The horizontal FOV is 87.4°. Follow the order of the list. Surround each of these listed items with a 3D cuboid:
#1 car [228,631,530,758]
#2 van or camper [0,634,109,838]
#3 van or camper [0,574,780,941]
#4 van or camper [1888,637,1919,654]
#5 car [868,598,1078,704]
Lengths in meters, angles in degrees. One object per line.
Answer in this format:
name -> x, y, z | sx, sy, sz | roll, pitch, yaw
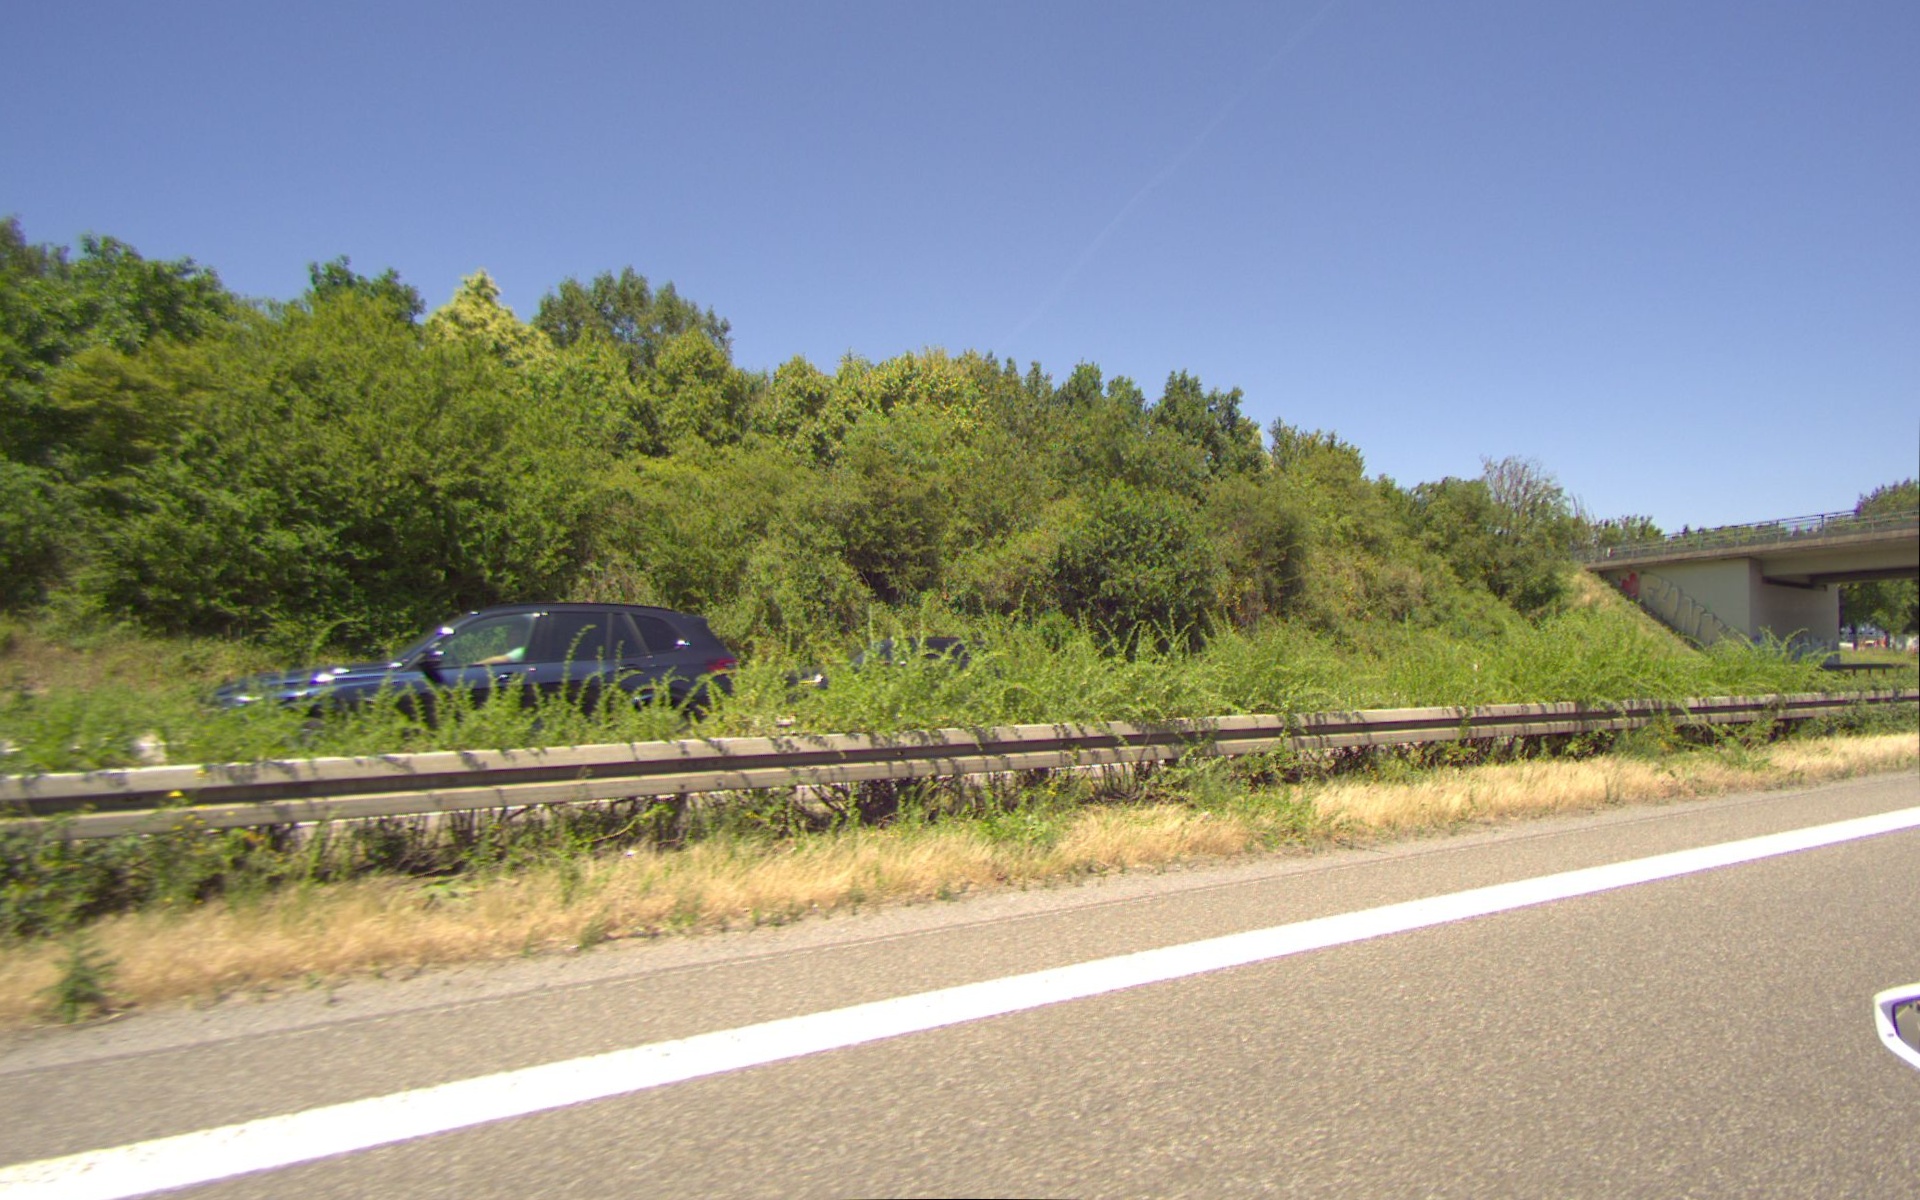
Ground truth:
car -> -9.182, 1.430, 16.198 | 3.951, 1.740, 1.985 | 2, 0, -29
van or camper -> -12.002, 1.348, 9.875 | 5.185, 2.040, 1.985 | 1, -2, -30
van or camper -> -5.145, 1.240, 9.714 | 6.388, 2.660, 2.110 | 2, -2, -32
van or camper -> 146.948, 7.040, 155.812 | 7.635, 2.585, 2.346 | 2, -3, -30
car -> 0.279, 1.037, 21.029 | 3.949, 2.040, 1.986 | 1, -1, -28
